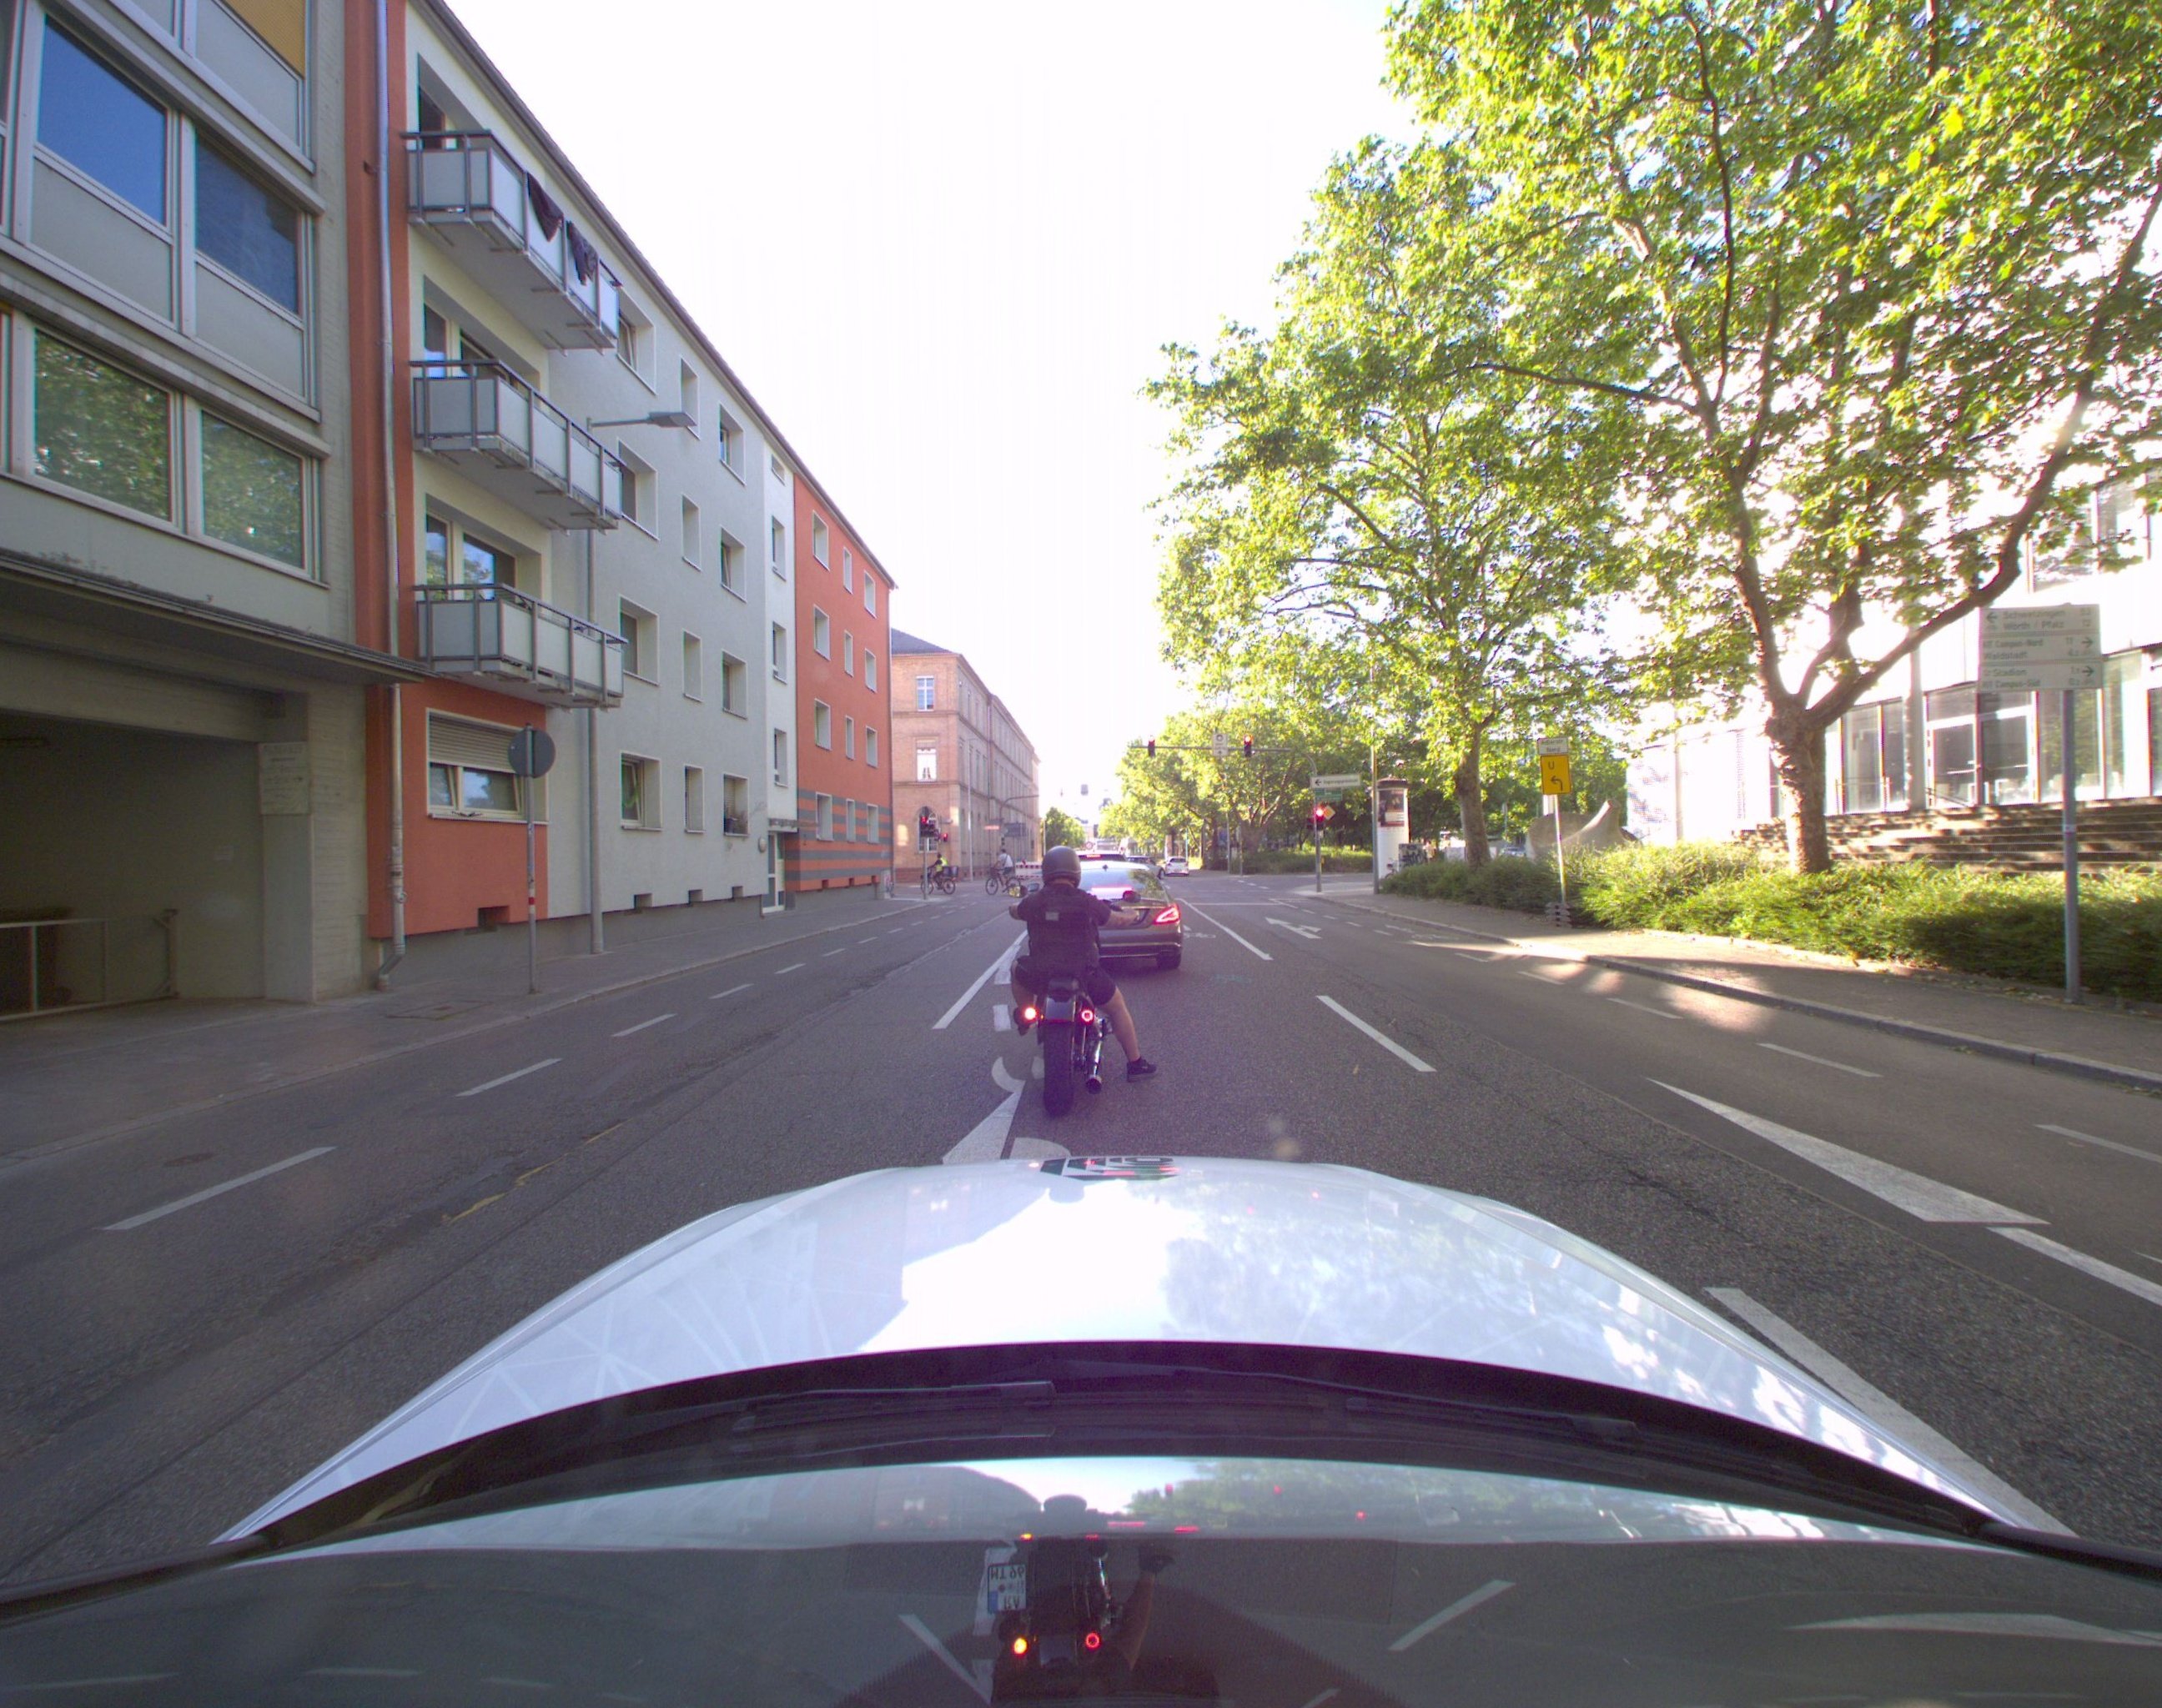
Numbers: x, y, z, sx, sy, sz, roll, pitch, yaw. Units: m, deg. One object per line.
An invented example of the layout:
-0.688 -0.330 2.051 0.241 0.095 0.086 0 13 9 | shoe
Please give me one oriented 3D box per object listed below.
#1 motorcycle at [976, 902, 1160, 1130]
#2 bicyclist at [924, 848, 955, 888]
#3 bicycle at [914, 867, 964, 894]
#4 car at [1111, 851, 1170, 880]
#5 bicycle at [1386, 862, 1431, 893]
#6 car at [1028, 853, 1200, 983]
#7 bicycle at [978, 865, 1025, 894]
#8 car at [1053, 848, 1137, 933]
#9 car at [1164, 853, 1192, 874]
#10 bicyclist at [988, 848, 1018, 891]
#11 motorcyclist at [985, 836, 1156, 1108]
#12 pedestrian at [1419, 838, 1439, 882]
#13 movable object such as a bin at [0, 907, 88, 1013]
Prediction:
-0.032 0.959 5.683 0.986 1.078 2.453 -1 0 2 | motorcycle
-6.158 0.620 35.467 1.034 1.695 0.710 -3 -1 30 | bicyclist
-6.202 1.142 35.510 2.135 1.103 0.710 -3 -1 30 | bicycle
3.554 0.658 48.065 1.804 1.481 3.933 -3 0 33 | car
11.027 0.795 27.398 1.346 1.023 0.363 -1 0 2 | bicycle
0.252 0.743 11.721 1.943 1.473 4.355 -1 0 -5 | car
-3.200 1.028 32.793 1.855 1.103 0.710 -1 0 36 | bicycle
0.315 0.707 17.891 1.606 1.607 4.329 -1 0 1 | car
7.131 0.695 59.651 1.844 1.486 3.919 -1 -1 10 | car
-3.137 0.605 32.733 0.952 1.692 0.710 -2 0 36 | bicyclist
-0.041 0.700 5.529 0.986 1.597 1.404 -1 0 2 | motorcyclist
14.869 0.241 34.803 0.549 1.849 0.594 -1 0 3 | pedestrian
-11.321 1.112 8.683 0.593 1.041 0.703 0 -1 1 | movable object such as a bin
